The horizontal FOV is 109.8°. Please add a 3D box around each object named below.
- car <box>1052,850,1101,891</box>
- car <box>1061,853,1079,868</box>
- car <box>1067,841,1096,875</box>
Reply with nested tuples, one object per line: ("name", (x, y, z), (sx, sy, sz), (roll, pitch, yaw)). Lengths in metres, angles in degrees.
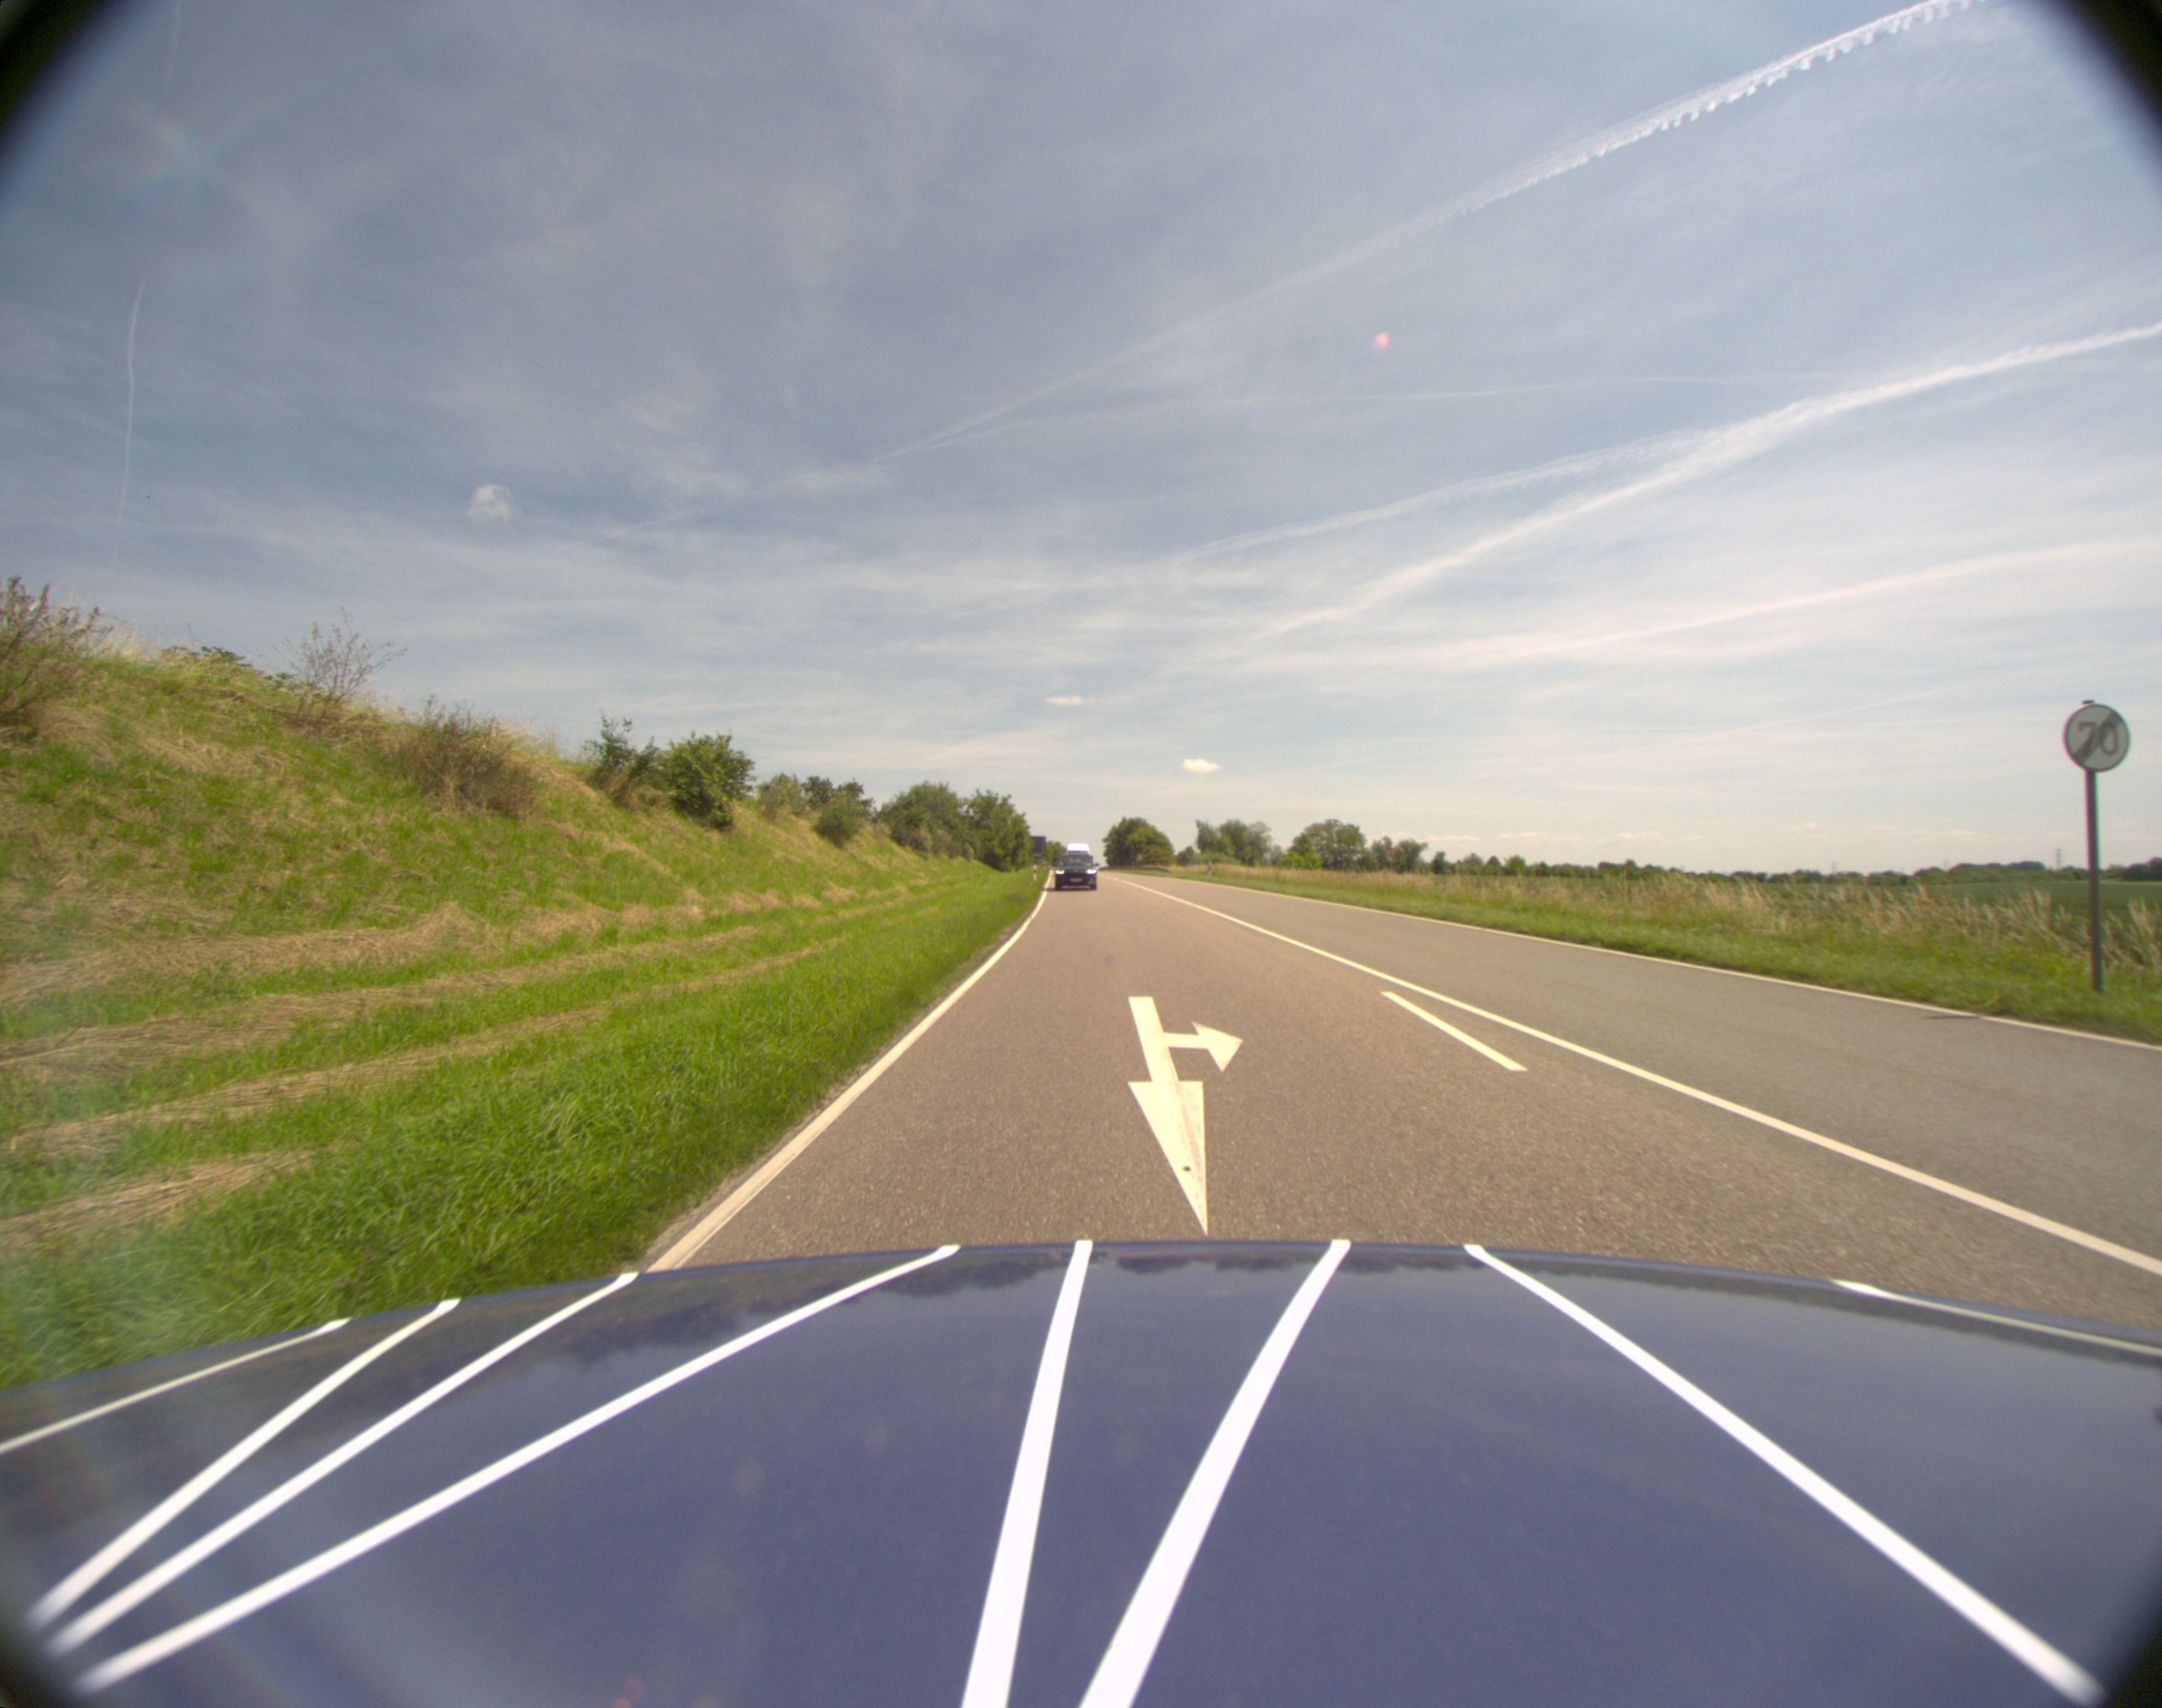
("car", (-0.177, 0.681, 35.393), (2.039, 1.691, 5.512), (-2, 0, 1))
("car", (-1.233, 0.694, 85.454), (2.039, 1.641, 4.743), (0, 1, -1))
("car", (0.007, 0.298, 62.832), (2.226, 2.617, 5.752), (1, 0, 0))
